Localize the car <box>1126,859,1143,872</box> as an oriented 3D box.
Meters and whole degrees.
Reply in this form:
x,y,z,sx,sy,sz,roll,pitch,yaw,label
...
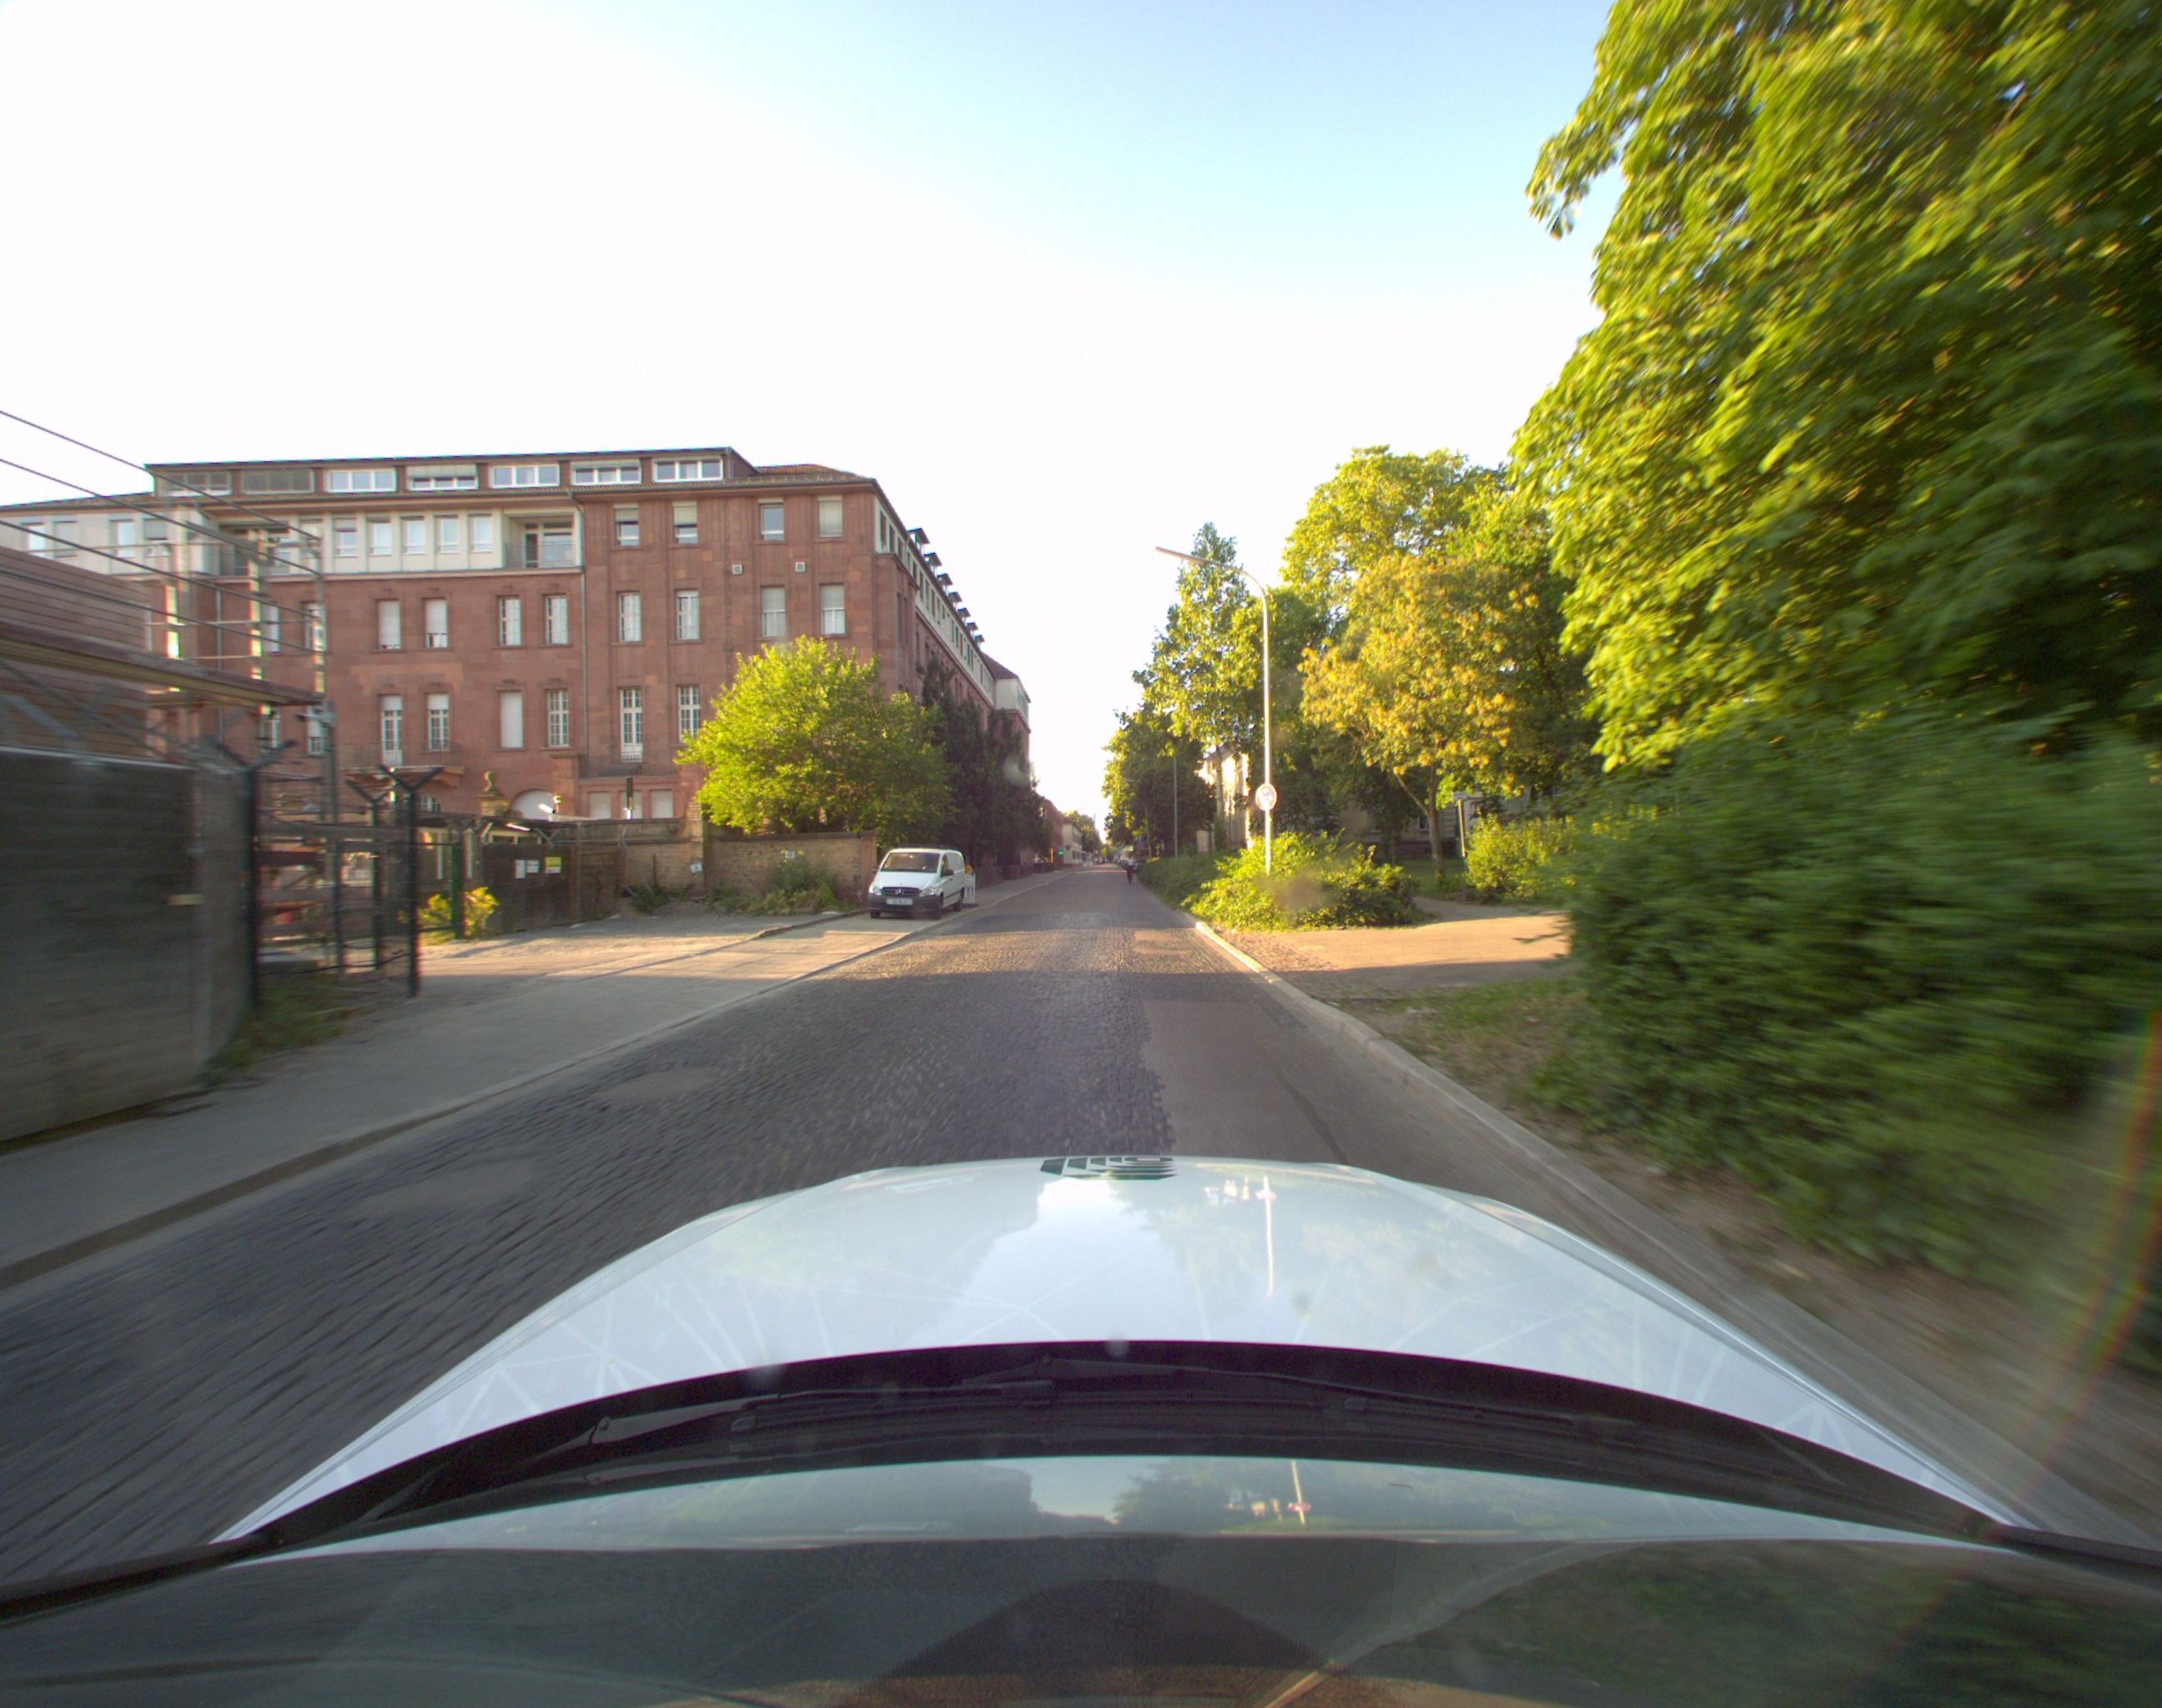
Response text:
x,y,z,sx,sy,sz,roll,pitch,yaw,label
6.257,1.356,96.034,1.710,1.538,4.048,-1,0,0,car

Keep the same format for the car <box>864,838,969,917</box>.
x,y,z,sx,sy,sz,roll,pitch,yaw,label
-4.548,0.667,23.333,1.876,2.014,5.225,0,-2,0,car

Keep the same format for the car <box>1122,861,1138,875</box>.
x,y,z,sx,sy,sz,roll,pitch,yaw,label
6.694,1.920,112.035,1.987,1.706,4.000,-2,-1,1,car

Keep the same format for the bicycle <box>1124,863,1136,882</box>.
x,y,z,sx,sy,sz,roll,pitch,yaw,label
3.019,1.140,50.548,0.636,1.193,1.876,0,-1,0,bicycle

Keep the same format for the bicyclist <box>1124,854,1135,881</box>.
x,y,z,sx,sy,sz,roll,pitch,yaw,label
3.020,0.825,50.581,0.637,1.667,0.842,0,-1,0,bicyclist

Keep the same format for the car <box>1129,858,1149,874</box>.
x,y,z,sx,sy,sz,roll,pitch,yaw,label
5.841,1.201,82.433,1.680,1.447,3.671,-4,-2,0,car
